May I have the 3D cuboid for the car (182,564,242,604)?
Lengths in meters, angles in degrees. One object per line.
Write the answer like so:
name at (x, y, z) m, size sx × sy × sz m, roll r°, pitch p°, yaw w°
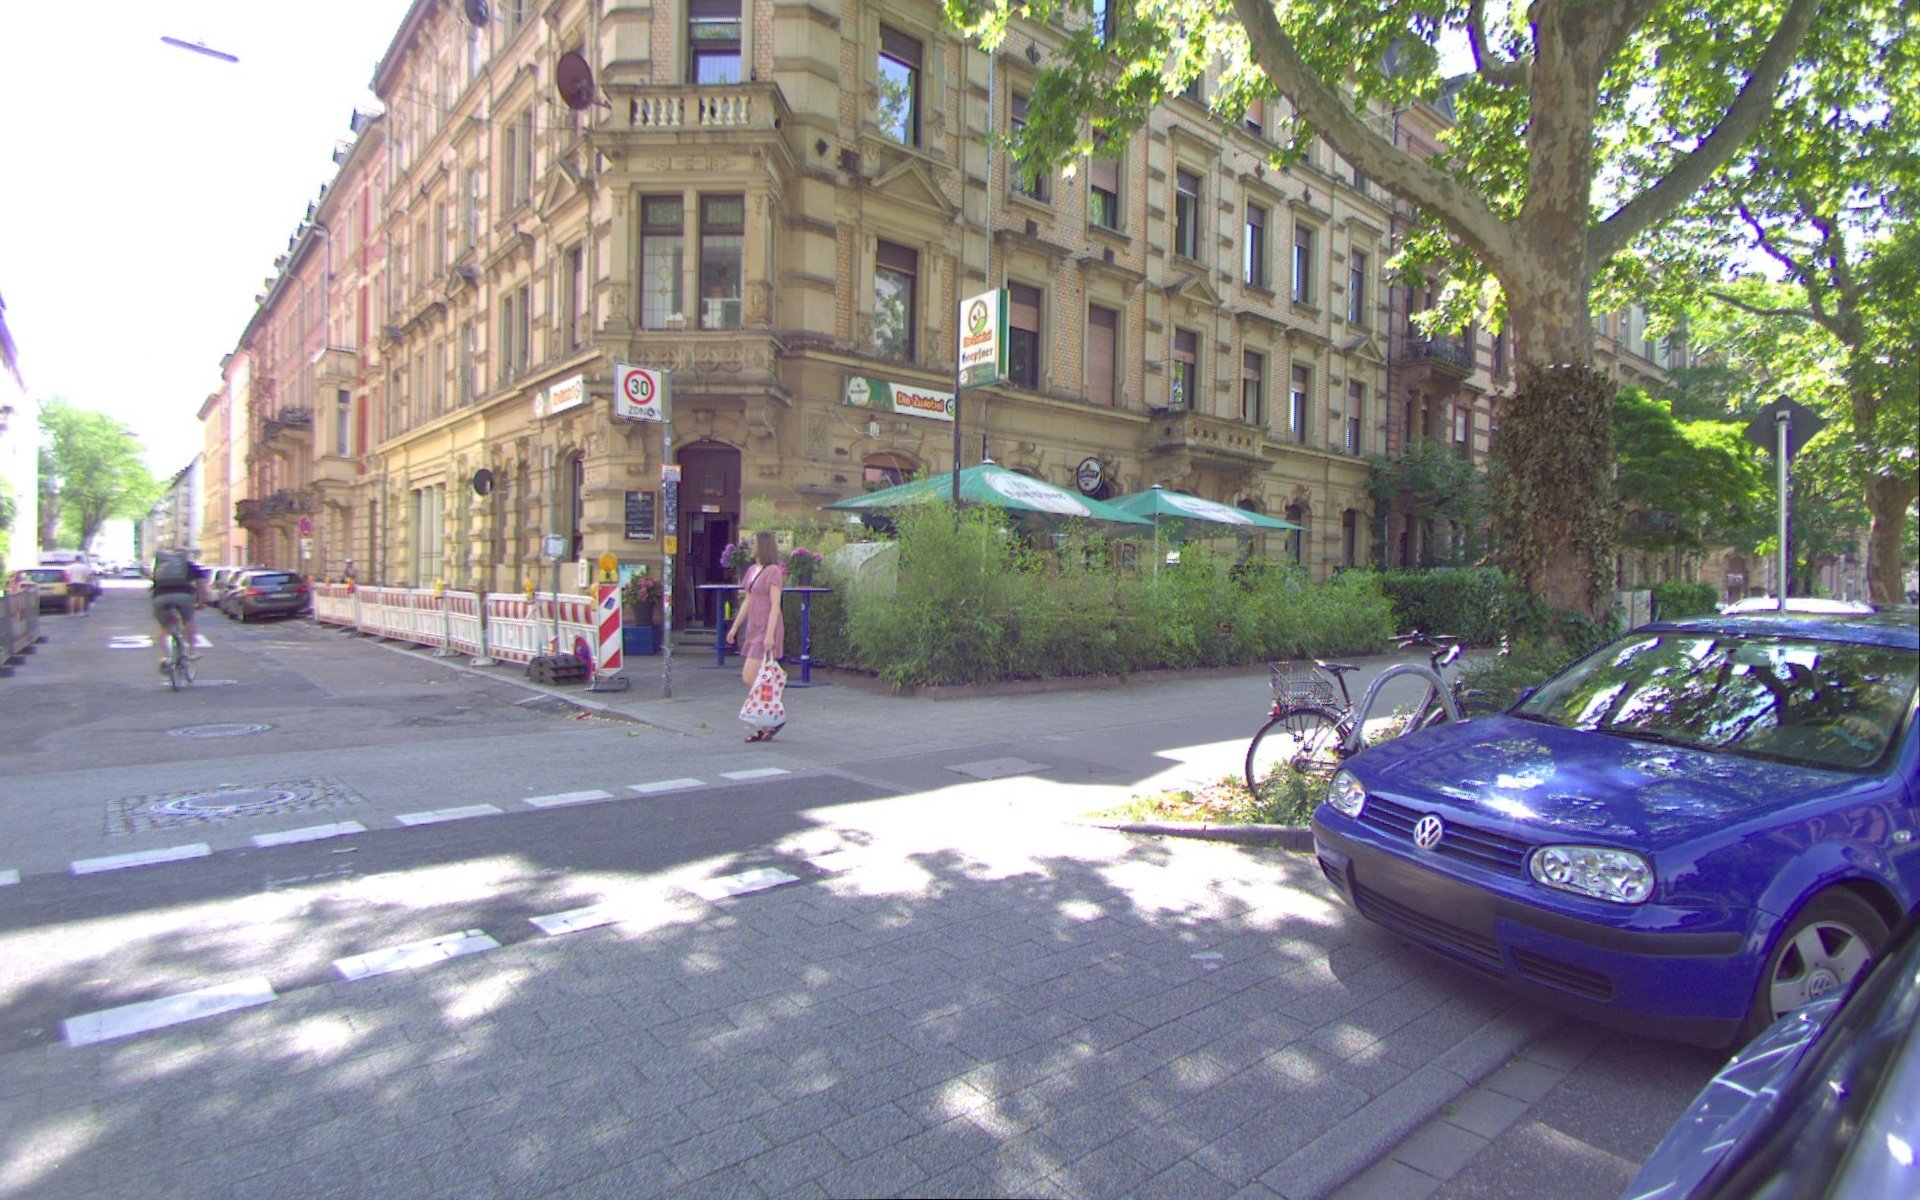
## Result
car at (-35.206, -0.780, 47.601) m, size 1.965 × 1.760 × 3.995 m, roll 0°, pitch 1°, yaw -41°

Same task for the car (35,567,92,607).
car at (-36.873, -0.562, 41.661) m, size 1.698 × 1.548 × 3.489 m, roll 0°, pitch 1°, yaw -41°

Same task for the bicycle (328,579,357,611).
bicycle at (-20.165, -0.174, 33.036) m, size 0.530 × 0.991 × 1.306 m, roll 0°, pitch 1°, yaw -44°

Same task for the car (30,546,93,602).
car at (-40.358, -1.165, 45.533) m, size 1.879 × 2.403 × 4.244 m, roll 0°, pitch 1°, yaw -39°

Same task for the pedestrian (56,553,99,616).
pedestrian at (-26.331, -0.470, 30.198) m, size 0.921 × 1.821 × 1.036 m, roll 0°, pitch 1°, yaw -44°

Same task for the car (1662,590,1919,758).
car at (9.717, 0.680, 11.686) m, size 4.418 × 1.527 × 1.835 m, roll 0°, pitch 2°, yaw -44°

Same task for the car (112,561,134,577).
car at (-99.388, -3.697, 120.193) m, size 1.965 × 1.760 × 3.995 m, roll 0°, pitch 1°, yaw -41°

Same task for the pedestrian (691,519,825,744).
pedestrian at (-1.733, 0.237, 8.666) m, size 0.837 × 1.807 × 0.737 m, roll 0°, pitch 2°, yaw -41°

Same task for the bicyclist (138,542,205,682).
bicyclist at (-9.590, 0.130, 12.328) m, size 0.613 × 1.643 × 0.695 m, roll 0°, pitch 1°, yaw -36°

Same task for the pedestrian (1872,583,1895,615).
pedestrian at (50.965, -0.058, 55.841) m, size 0.951 × 1.740 × 0.796 m, roll 0°, pitch 1°, yaw -41°

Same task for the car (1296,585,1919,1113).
car at (3.713, 0.674, 4.321) m, size 4.007 × 1.427 × 1.892 m, roll 0°, pitch 1°, yaw -20°

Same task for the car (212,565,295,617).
car at (-24.287, -0.345, 34.736) m, size 1.965 × 1.660 × 3.995 m, roll 0°, pitch 1°, yaw -41°

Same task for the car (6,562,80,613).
car at (-29.627, -0.430, 32.775) m, size 1.698 × 1.548 × 3.489 m, roll 0°, pitch 1°, yaw -41°

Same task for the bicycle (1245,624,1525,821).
bicycle at (2.594, 0.723, 6.199) m, size 1.583 × 1.119 × 0.423 m, roll 1°, pitch 1°, yaw -10°

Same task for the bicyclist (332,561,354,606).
bicyclist at (-20.140, -0.537, 33.023) m, size 0.524 × 1.471 × 0.460 m, roll 0°, pitch 1°, yaw -43°

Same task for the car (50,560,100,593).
car at (-47.573, -1.271, 54.458) m, size 1.879 × 1.731 × 4.158 m, roll 0°, pitch 1°, yaw -39°

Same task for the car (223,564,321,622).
car at (-20.368, -0.251, 29.907) m, size 1.965 × 1.571 × 3.995 m, roll 0°, pitch 1°, yaw -41°

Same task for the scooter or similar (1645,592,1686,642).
scooter or similar at (18.987, 0.447, 27.220) m, size 1.124 × 1.298 × 0.583 m, roll 0°, pitch 1°, yaw -39°

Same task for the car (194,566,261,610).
car at (-30.966, -0.549, 42.725) m, size 1.965 × 1.760 × 3.995 m, roll 0°, pitch 1°, yaw -41°

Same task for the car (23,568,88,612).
car at (-33.165, -0.399, 37.136) m, size 1.698 × 1.548 × 3.489 m, roll 0°, pitch 1°, yaw -42°

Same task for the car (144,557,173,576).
car at (-74.734, -3.107, 94.351) m, size 1.965 × 1.760 × 3.995 m, roll 0°, pitch 1°, yaw -41°

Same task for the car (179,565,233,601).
car at (-38.639, -0.872, 51.814) m, size 1.965 × 1.760 × 3.995 m, roll 0°, pitch 1°, yaw -41°

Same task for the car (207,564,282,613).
car at (-27.288, -0.466, 38.562) m, size 1.965 × 1.760 × 3.995 m, roll 0°, pitch 1°, yaw -41°

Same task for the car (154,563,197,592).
car at (-49.949, -1.460, 64.422) m, size 1.965 × 1.760 × 3.995 m, roll 0°, pitch 1°, yaw -41°

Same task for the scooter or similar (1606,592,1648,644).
scooter or similar at (16.864, 0.434, 25.587) m, size 1.124 × 1.263 × 0.583 m, roll 0°, pitch 1°, yaw -40°

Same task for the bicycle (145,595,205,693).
bicycle at (-9.656, 0.499, 12.481) m, size 0.523 × 1.062 × 1.926 m, roll 0°, pitch 1°, yaw -36°

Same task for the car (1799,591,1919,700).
car at (15.149, 0.648, 16.216) m, size 4.561 × 1.527 × 1.837 m, roll 0°, pitch 2°, yaw -40°
